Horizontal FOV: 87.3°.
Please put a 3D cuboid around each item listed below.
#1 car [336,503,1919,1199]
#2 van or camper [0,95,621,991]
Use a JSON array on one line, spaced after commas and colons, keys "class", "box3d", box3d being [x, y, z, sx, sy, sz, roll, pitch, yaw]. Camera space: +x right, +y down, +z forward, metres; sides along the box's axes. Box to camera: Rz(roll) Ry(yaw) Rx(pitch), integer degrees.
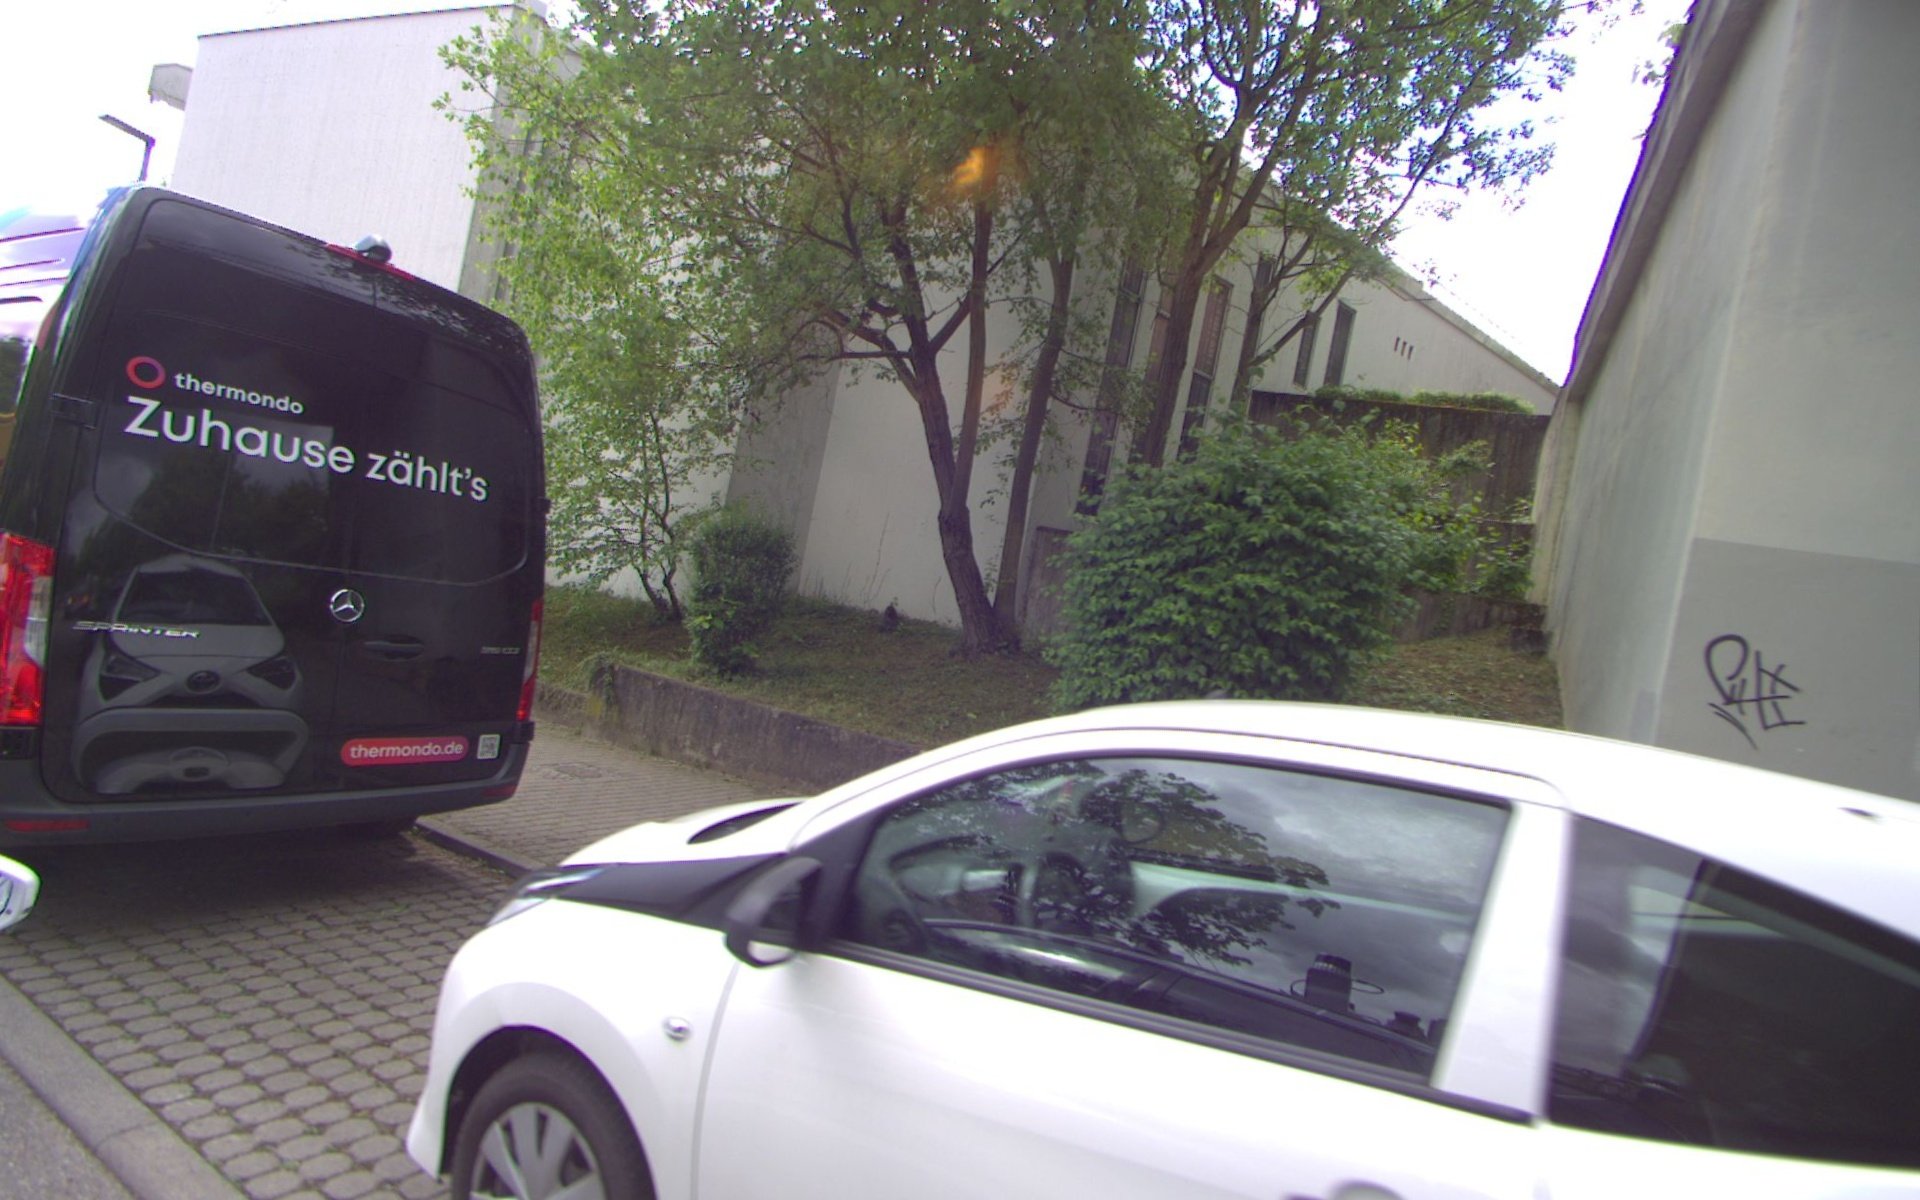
[{"class": "car", "box3d": [0.547, 0.809, 2.020, 3.274, 1.514, 1.566, 8, -1, 30]}, {"class": "van or camper", "box3d": [-4.454, -0.341, 5.088, 5.380, 2.554, 1.996, 7, 0, 32]}]
